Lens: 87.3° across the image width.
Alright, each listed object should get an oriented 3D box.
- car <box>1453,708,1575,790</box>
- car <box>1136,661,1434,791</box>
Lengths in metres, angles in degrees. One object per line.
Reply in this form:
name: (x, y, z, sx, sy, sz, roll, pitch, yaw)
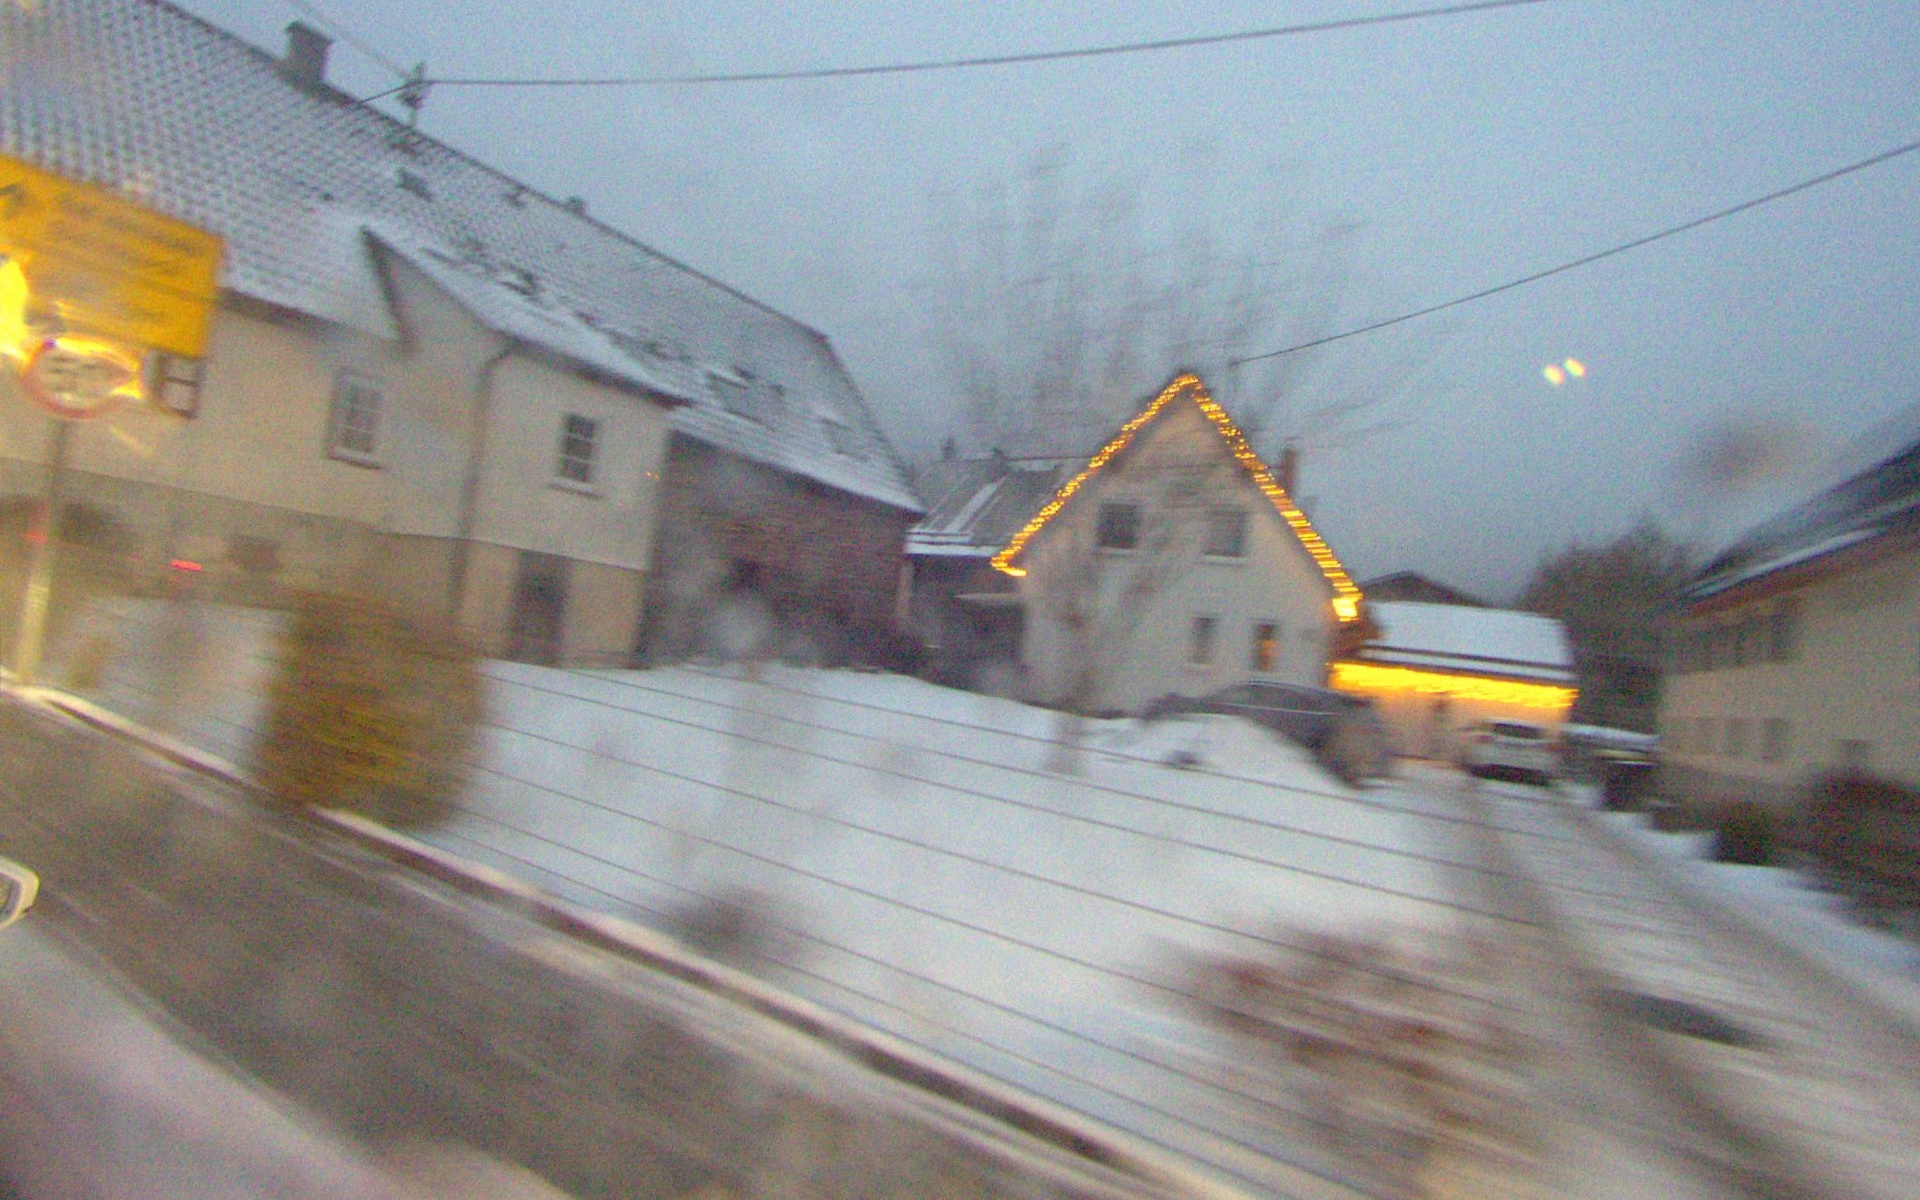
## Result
car: (13.399, 3.545, 24.575, 2.015, 1.518, 4.094, 6, -3, 23)
car: (5.763, 2.222, 18.213, 2.315, 1.627, 4.472, 9, -3, -44)
